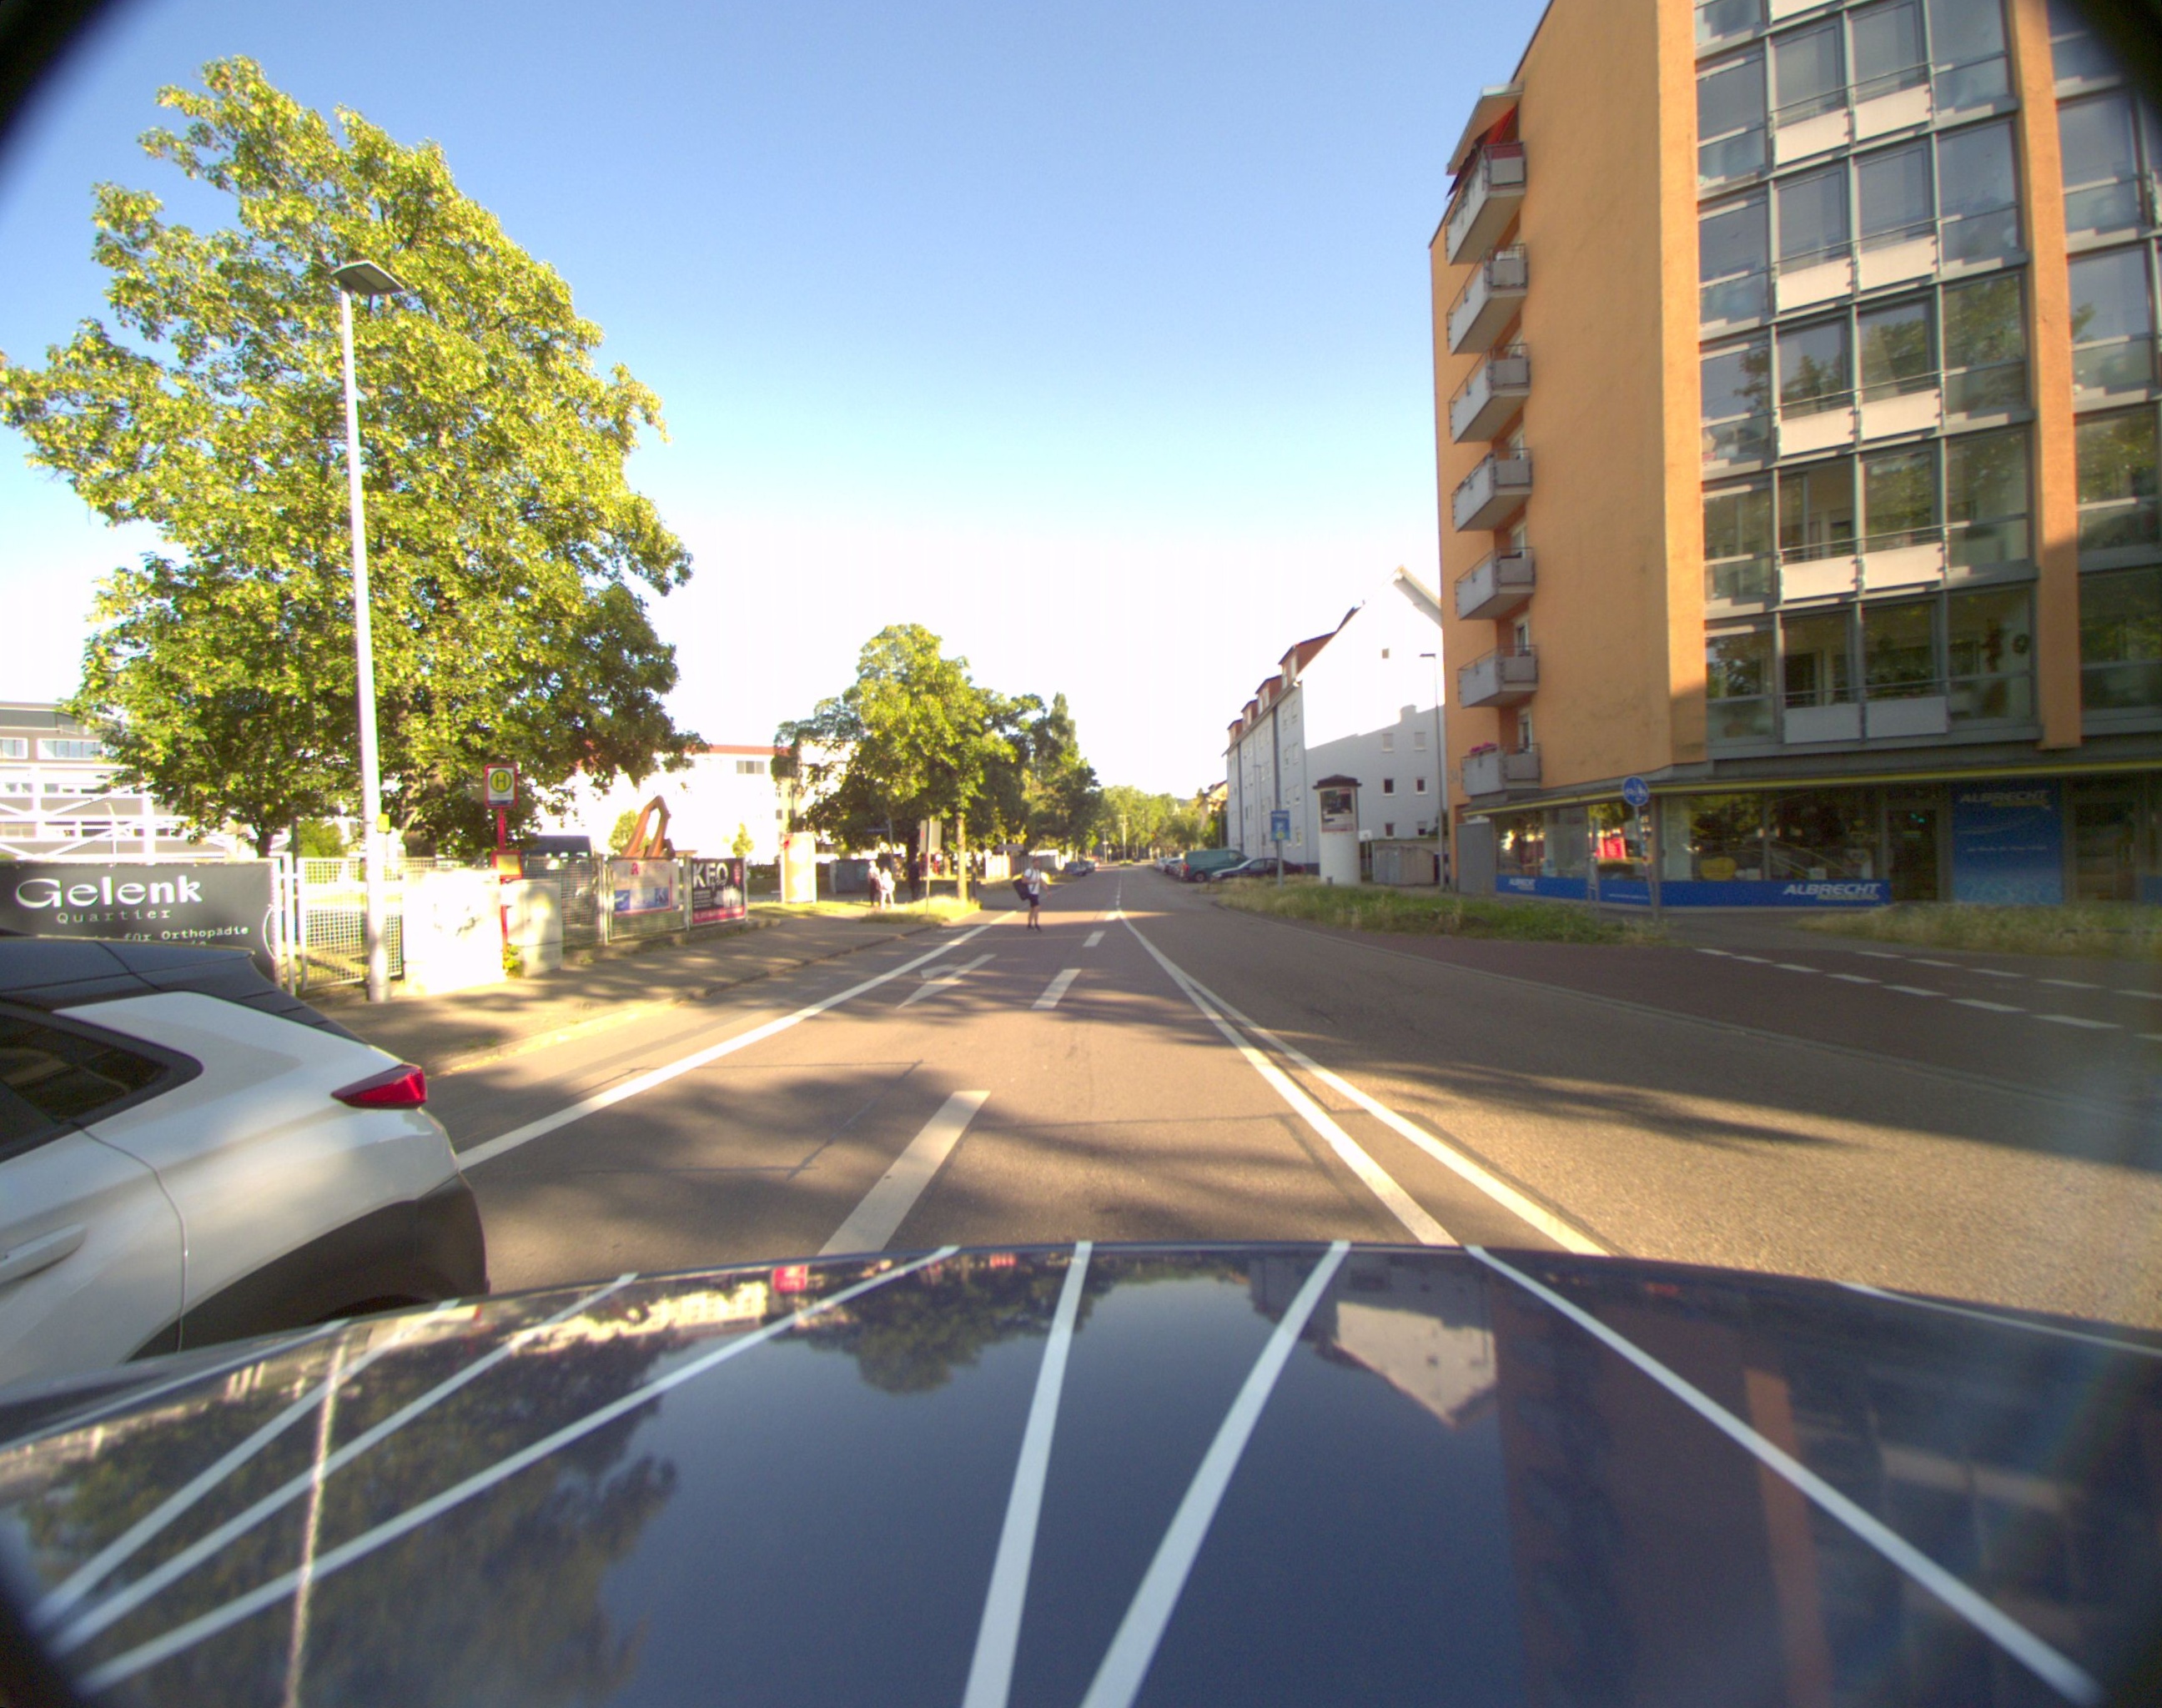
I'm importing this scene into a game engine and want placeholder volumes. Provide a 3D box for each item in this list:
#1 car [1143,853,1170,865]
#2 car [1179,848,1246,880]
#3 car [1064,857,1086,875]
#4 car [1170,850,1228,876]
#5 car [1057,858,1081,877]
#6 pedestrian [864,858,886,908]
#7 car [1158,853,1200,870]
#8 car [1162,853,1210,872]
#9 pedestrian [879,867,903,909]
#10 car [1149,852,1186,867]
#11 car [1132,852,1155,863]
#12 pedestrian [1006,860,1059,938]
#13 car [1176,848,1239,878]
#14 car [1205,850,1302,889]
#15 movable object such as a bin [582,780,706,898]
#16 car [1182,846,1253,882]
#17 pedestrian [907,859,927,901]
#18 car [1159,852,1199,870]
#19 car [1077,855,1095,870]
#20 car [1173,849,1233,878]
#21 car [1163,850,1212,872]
[{"bbox_3d":[10.458,0.701,105.239,3.538,1.564,1.867,-2,1,5],"label":"car"},{"bbox_3d":[8.349,0.620,48.584,3.995,1.805,2.000,-2,1,5],"label":"car"},{"bbox_3d":[-0.595,1.149,73.940,1.998,1.521,3.999,-2,1,1],"label":"car"},{"bbox_3d":[8.740,0.660,56.434,4.071,1.741,1.899,-2,1,5],"label":"car"},{"bbox_3d":[-1.097,1.216,69.593,1.998,1.521,3.999,-2,1,1],"label":"car"},{"bbox_3d":[-7.382,1.027,27.254,0.609,1.727,0.638,-2,1,-5],"label":"pedestrian"},{"bbox_3d":[10.299,0.753,79.928,4.257,1.564,1.867,-2,1,5],"label":"car"},{"bbox_3d":[9.560,0.770,69.371,4.257,1.564,1.867,-2,1,5],"label":"car"},{"bbox_3d":[-6.666,1.180,26.663,0.609,1.426,0.639,-2,1,1],"label":"pedestrian"},{"bbox_3d":[10.215,0.642,90.187,4.257,1.564,1.867,-2,1,5],"label":"car"},{"bbox_3d":[9.694,0.586,118.220,3.538,1.564,1.867,-2,1,5],"label":"car"},{"bbox_3d":[-1.148,1.025,17.784,0.903,1.727,1.086,-3,1,-21],"label":"pedestrian"},{"bbox_3d":[8.492,0.584,51.340,3.995,1.805,2.000,-2,1,5],"label":"car"},{"bbox_3d":[8.290,0.728,36.871,4.423,1.652,2.001,-2,1,9],"label":"car"},{"bbox_3d":[-22.236,-0.702,38.546,3.986,5.447,6.016,-3,1,-42],"label":"movable object such as a bin"},{"bbox_3d":[8.186,0.590,45.936,3.996,1.936,2.000,-2,1,4],"label":"car"},{"bbox_3d":[-6.627,1.029,30.712,0.696,1.659,0.638,-2,1,-11],"label":"pedestrian"},{"bbox_3d":[10.252,0.722,80.064,4.071,1.741,1.899,-2,1,5],"label":"car"},{"bbox_3d":[0.561,0.948,87.973,1.998,1.521,3.999,-2,1,1],"label":"car"},{"bbox_3d":[8.563,0.665,53.690,4.059,1.805,1.937,-2,1,5],"label":"car"},{"bbox_3d":[9.267,0.605,66.485,4.117,1.762,1.757,-2,1,5],"label":"car"}]
